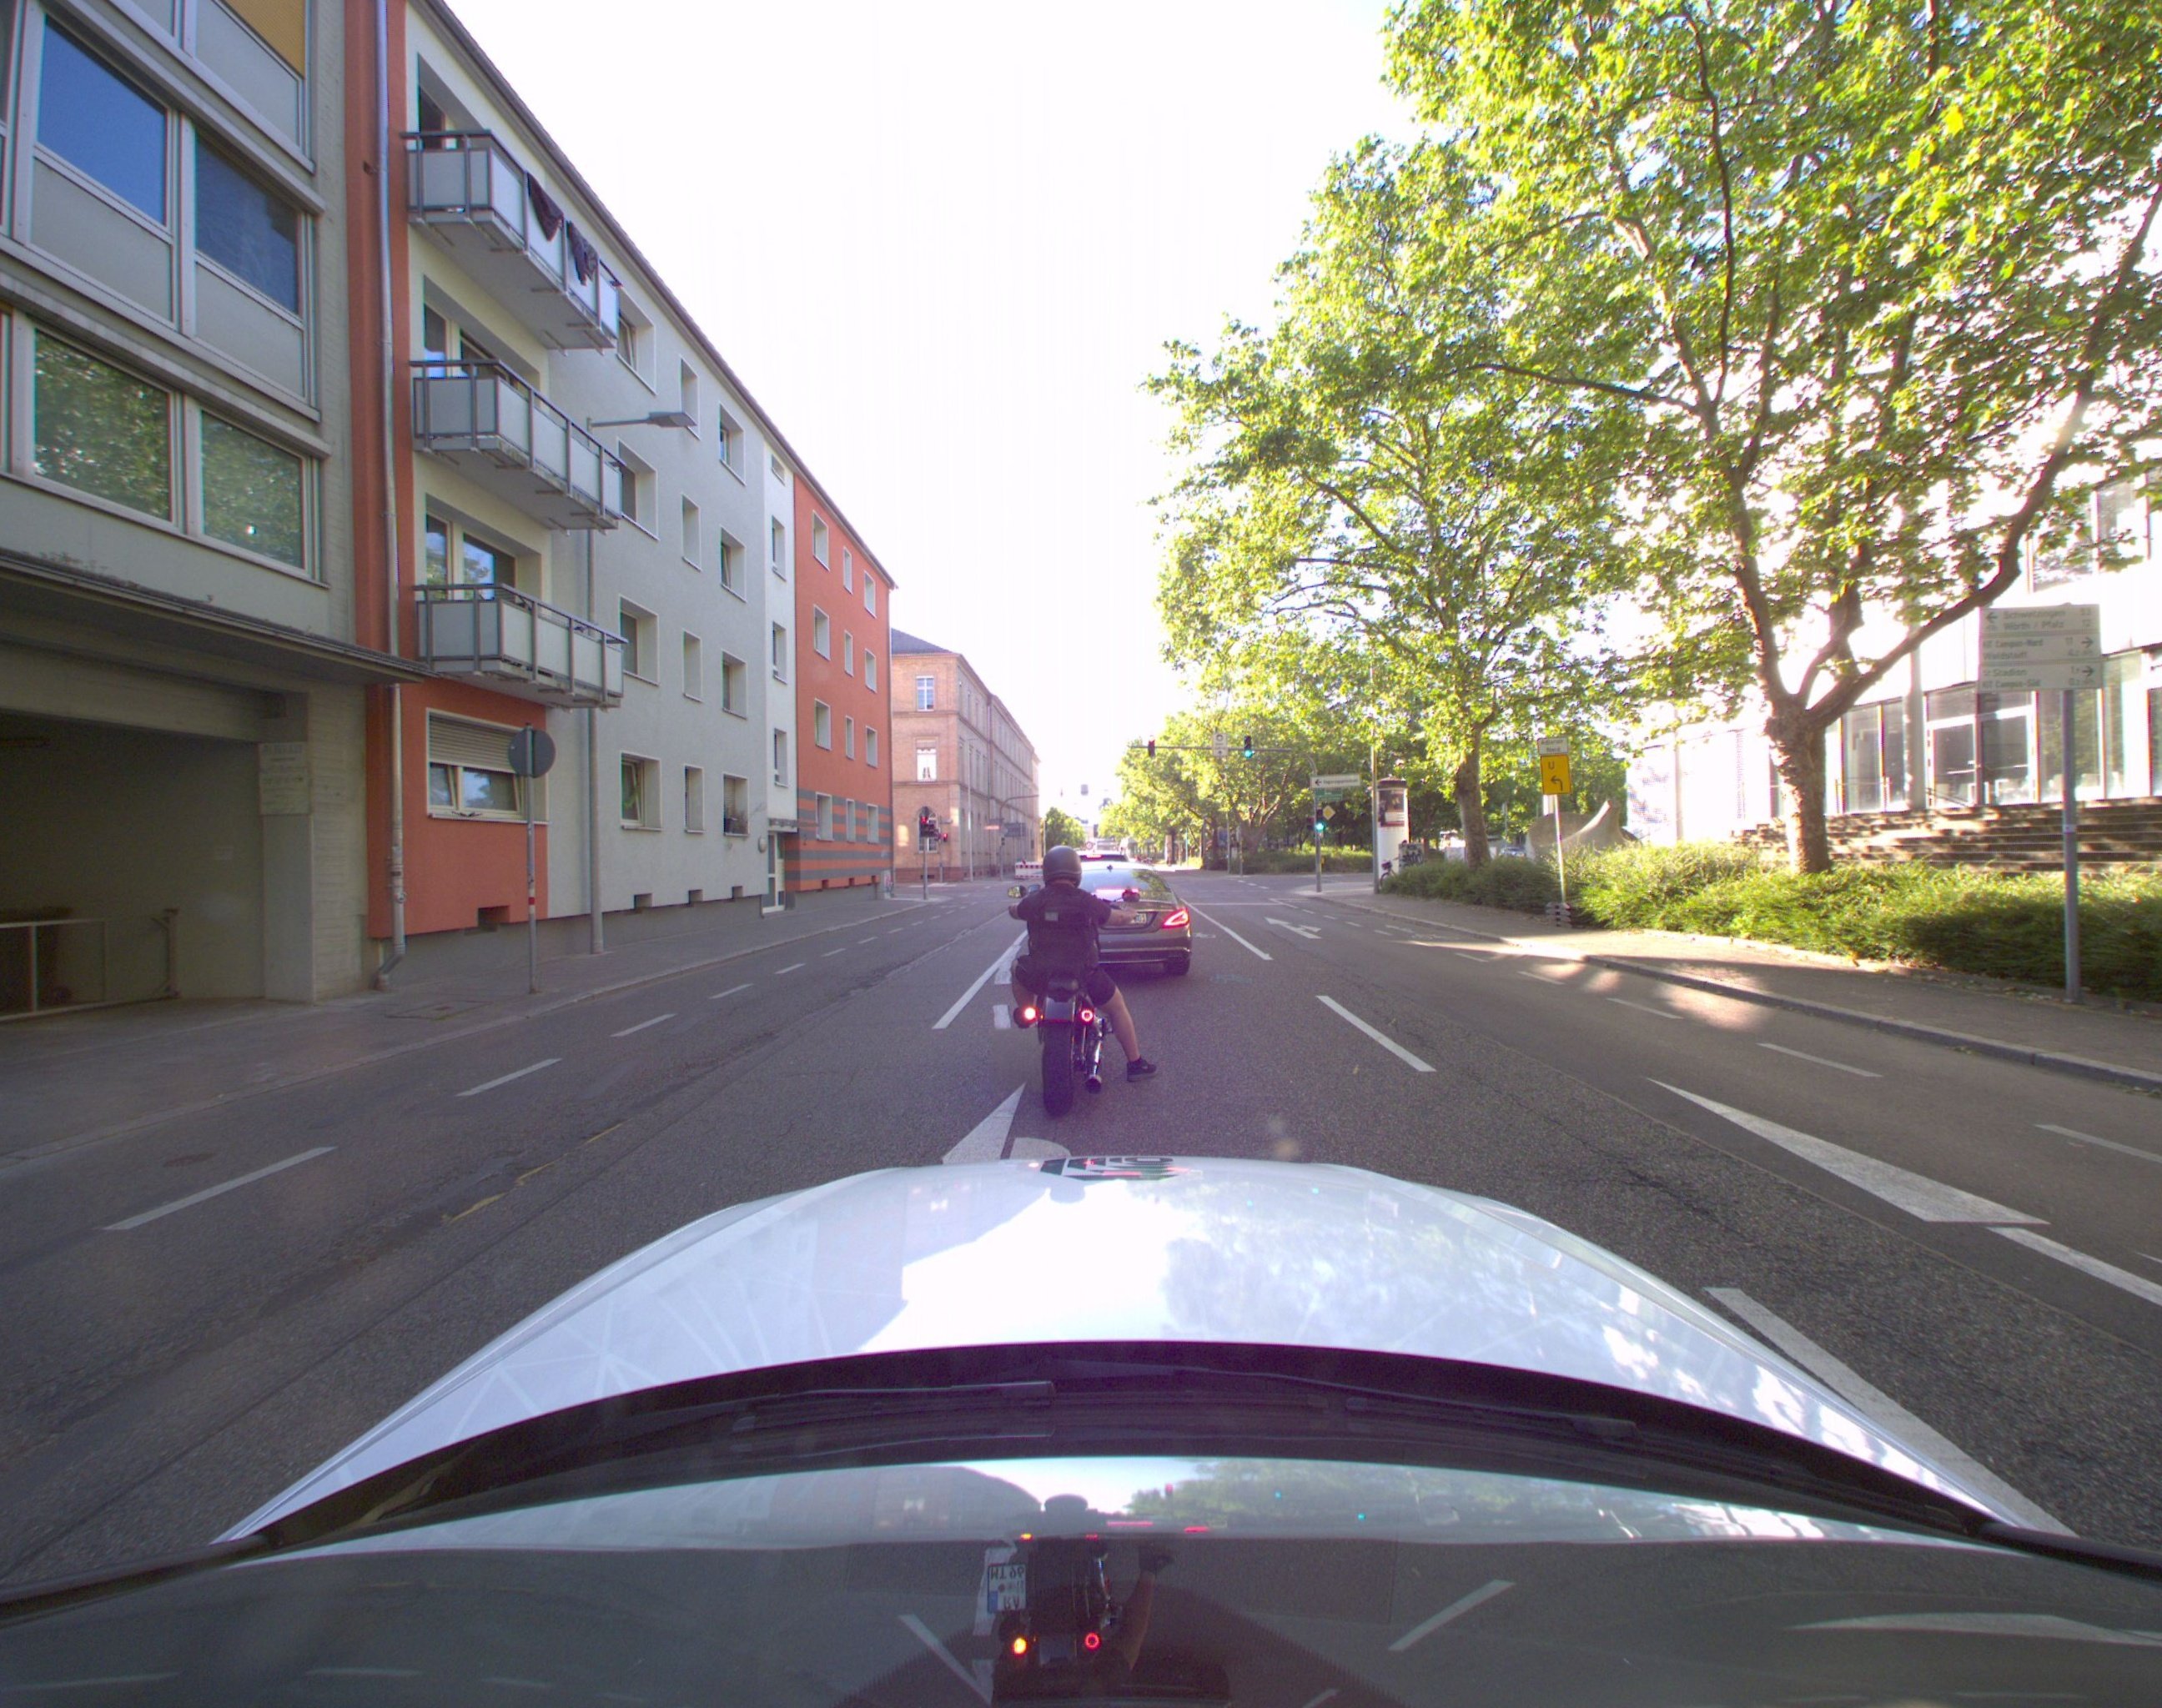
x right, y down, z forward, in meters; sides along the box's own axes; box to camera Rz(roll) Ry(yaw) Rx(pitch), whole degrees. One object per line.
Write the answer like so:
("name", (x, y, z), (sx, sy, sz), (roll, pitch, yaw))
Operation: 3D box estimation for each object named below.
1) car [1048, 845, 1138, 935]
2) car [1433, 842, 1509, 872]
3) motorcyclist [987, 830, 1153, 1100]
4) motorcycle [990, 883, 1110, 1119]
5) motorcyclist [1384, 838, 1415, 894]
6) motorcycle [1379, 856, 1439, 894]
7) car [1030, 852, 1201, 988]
("car", (0.287, 0.689, 17.094), (1.645, 1.652, 4.002), (0, -1, 2))
("car", (24.629, 0.205, 51.524), (3.974, 1.772, 1.738), (-1, 0, -1))
("motorcyclist", (-0.052, 0.671, 5.448), (0.986, 1.611, 1.121), (0, -1, 1))
("motorcycle", (-0.140, 0.851, 5.541), (0.657, 1.240, 2.058), (0, -1, 2))
("motorcyclist", (10.768, 0.393, 27.568), (0.818, 1.863, 0.673), (0, -1, 7))
("motorcycle", (11.072, 0.712, 27.544), (1.771, 1.243, 0.724), (0, -1, 7))
("car", (0.262, 0.745, 11.244), (1.821, 1.486, 4.325), (0, 0, -5))
